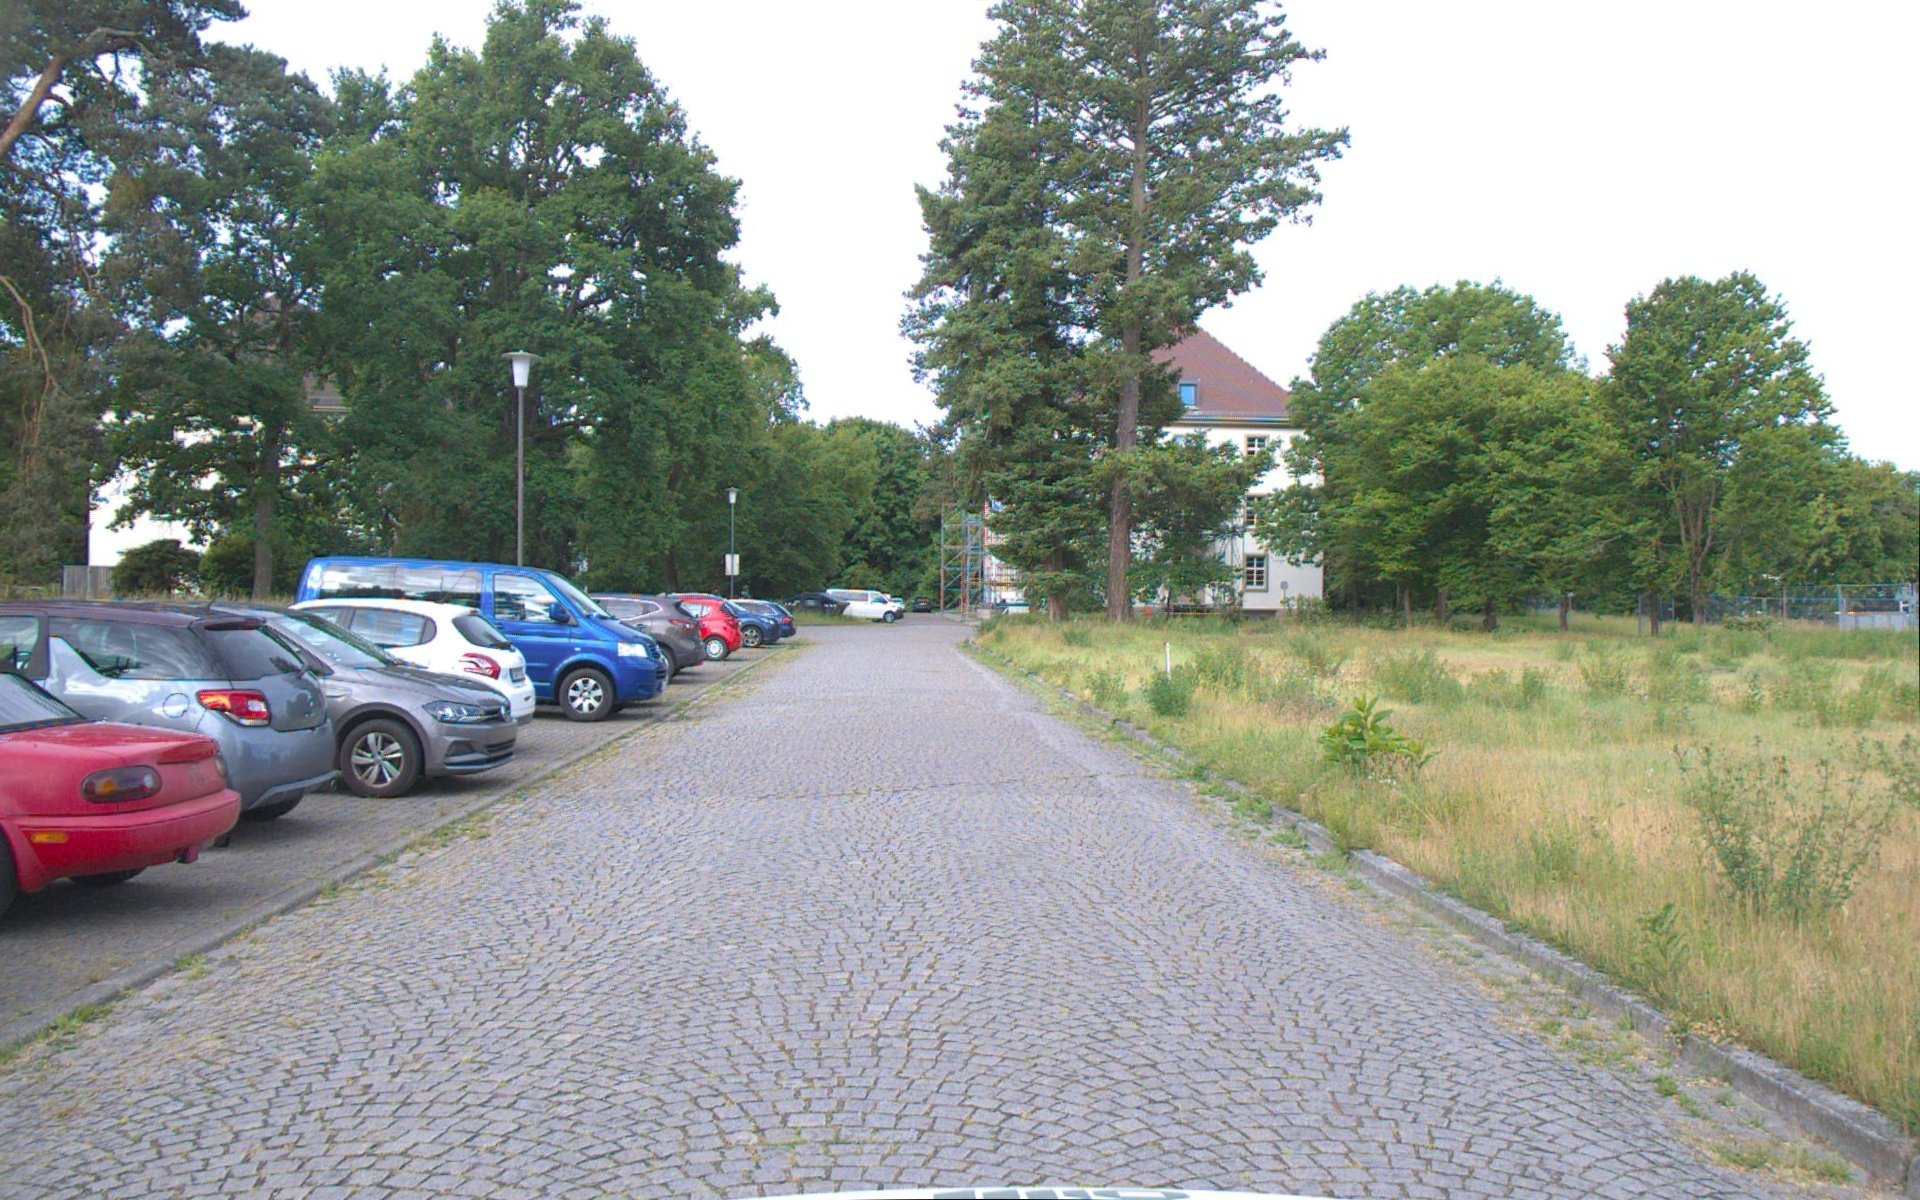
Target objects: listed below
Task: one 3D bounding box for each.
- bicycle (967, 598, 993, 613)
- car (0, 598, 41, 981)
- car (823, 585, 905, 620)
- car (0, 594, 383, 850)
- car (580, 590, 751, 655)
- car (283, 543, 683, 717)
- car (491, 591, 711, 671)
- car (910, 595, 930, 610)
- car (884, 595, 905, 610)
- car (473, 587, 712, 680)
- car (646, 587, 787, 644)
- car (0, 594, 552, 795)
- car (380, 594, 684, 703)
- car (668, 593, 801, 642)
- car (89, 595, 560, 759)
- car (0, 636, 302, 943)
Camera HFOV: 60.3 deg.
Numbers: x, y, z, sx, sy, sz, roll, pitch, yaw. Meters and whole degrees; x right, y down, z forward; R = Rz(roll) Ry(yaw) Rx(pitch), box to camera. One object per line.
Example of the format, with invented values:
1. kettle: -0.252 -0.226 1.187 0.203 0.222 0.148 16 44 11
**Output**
1. bicycle: 1.757 0.459 144.133 2.194 1.276 0.634 0 0 -1
2. car: -5.765 0.737 5.728 4.083 1.502 1.863 0 0 -4
3. car: -6.078 0.153 104.927 5.132 2.206 1.998 0 0 -5
4. car: -6.117 0.723 10.742 4.082 1.508 1.845 0 0 -2
5. car: -7.255 0.545 41.023 3.975 1.552 1.903 0 0 -4
6. car: -6.144 0.375 21.812 4.687 2.159 2.114 0 0 -4
7. car: -7.182 0.608 33.389 4.084 1.536 1.906 0 0 -4
8. car: -4.190 0.241 171.370 1.913 1.548 3.997 0 0 -4
9. car: -6.798 0.239 170.939 2.077 1.548 3.997 0 0 -4
10. car: -6.726 0.595 30.670 4.085 1.650 1.984 0 0 -6
11. car: -7.506 0.469 51.263 4.145 1.604 1.886 1 0 -4
12. car: -5.629 0.723 13.596 4.081 1.517 1.864 0 0 -1
13. car: -6.214 0.695 24.399 4.085 1.536 1.779 0 0 -5
14. car: -7.600 0.580 55.987 4.216 1.486 1.974 1 0 -2
15. car: -6.202 0.728 16.511 3.986 1.523 1.845 0 0 -2
16. car: -5.638 0.844 8.109 4.082 1.289 1.830 0 0 -2
